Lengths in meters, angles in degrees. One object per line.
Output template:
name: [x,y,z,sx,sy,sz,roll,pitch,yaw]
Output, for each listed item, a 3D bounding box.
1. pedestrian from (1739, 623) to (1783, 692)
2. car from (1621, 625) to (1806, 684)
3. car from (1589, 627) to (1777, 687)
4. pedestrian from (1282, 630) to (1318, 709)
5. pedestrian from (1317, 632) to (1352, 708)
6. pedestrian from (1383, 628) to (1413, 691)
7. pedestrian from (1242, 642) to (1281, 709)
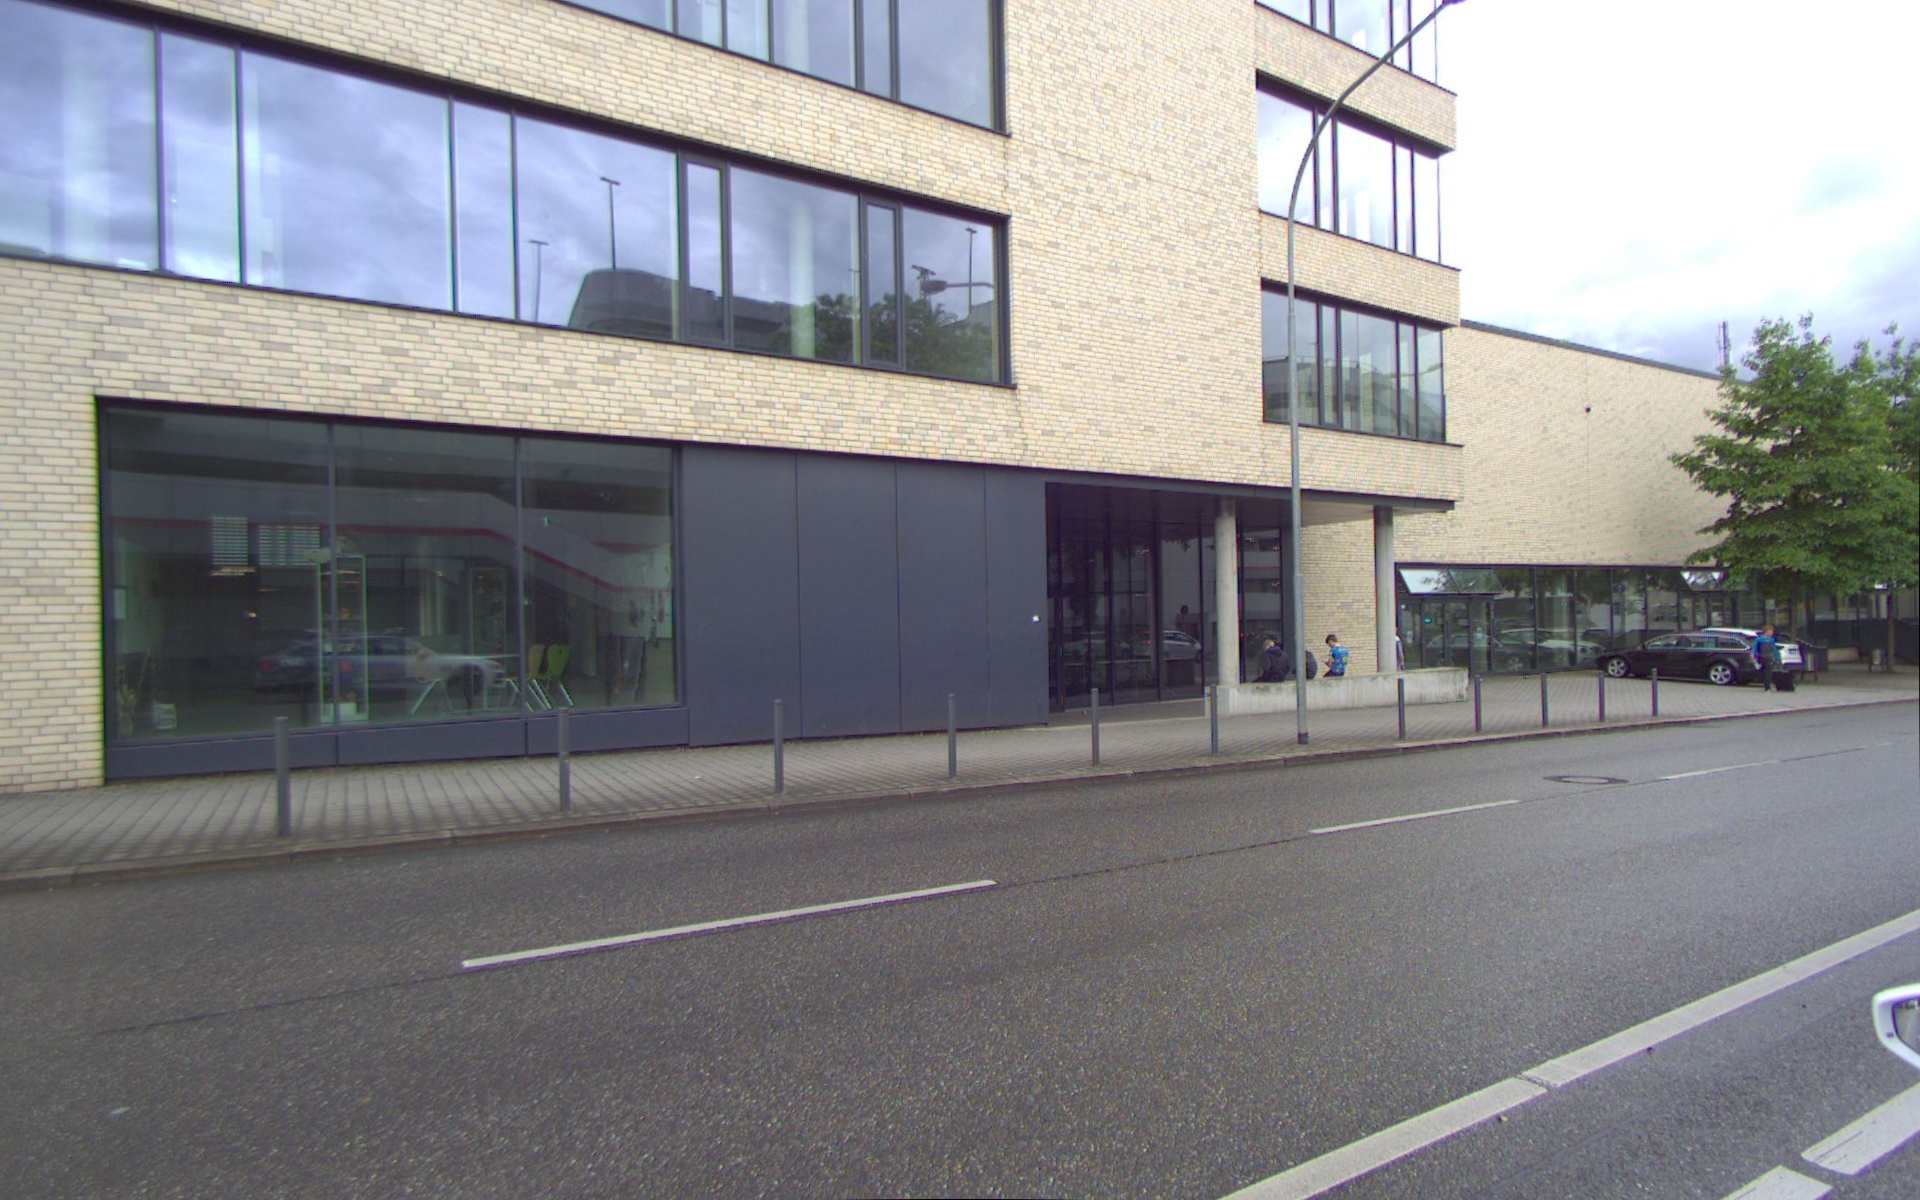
pedestrian: [20.907,1.489,26.211,0.696,1.737,0.632,2,0,-27]
car: [23.318,1.653,31.243,1.975,1.568,4.159,2,0,-28]
car: [21.441,1.636,29.935,1.981,1.515,4.147,2,0,-36]
pedestrian: [6.603,1.343,19.514,0.459,1.495,0.446,2,0,-35]
pedestrian: [7.543,1.394,20.253,0.459,1.495,0.446,2,0,-35]
pedestrian: [10.624,1.440,24.377,0.523,1.495,0.438,2,0,-35]
pedestrian: [5.714,1.425,19.028,0.416,1.231,0.546,2,0,-27]
